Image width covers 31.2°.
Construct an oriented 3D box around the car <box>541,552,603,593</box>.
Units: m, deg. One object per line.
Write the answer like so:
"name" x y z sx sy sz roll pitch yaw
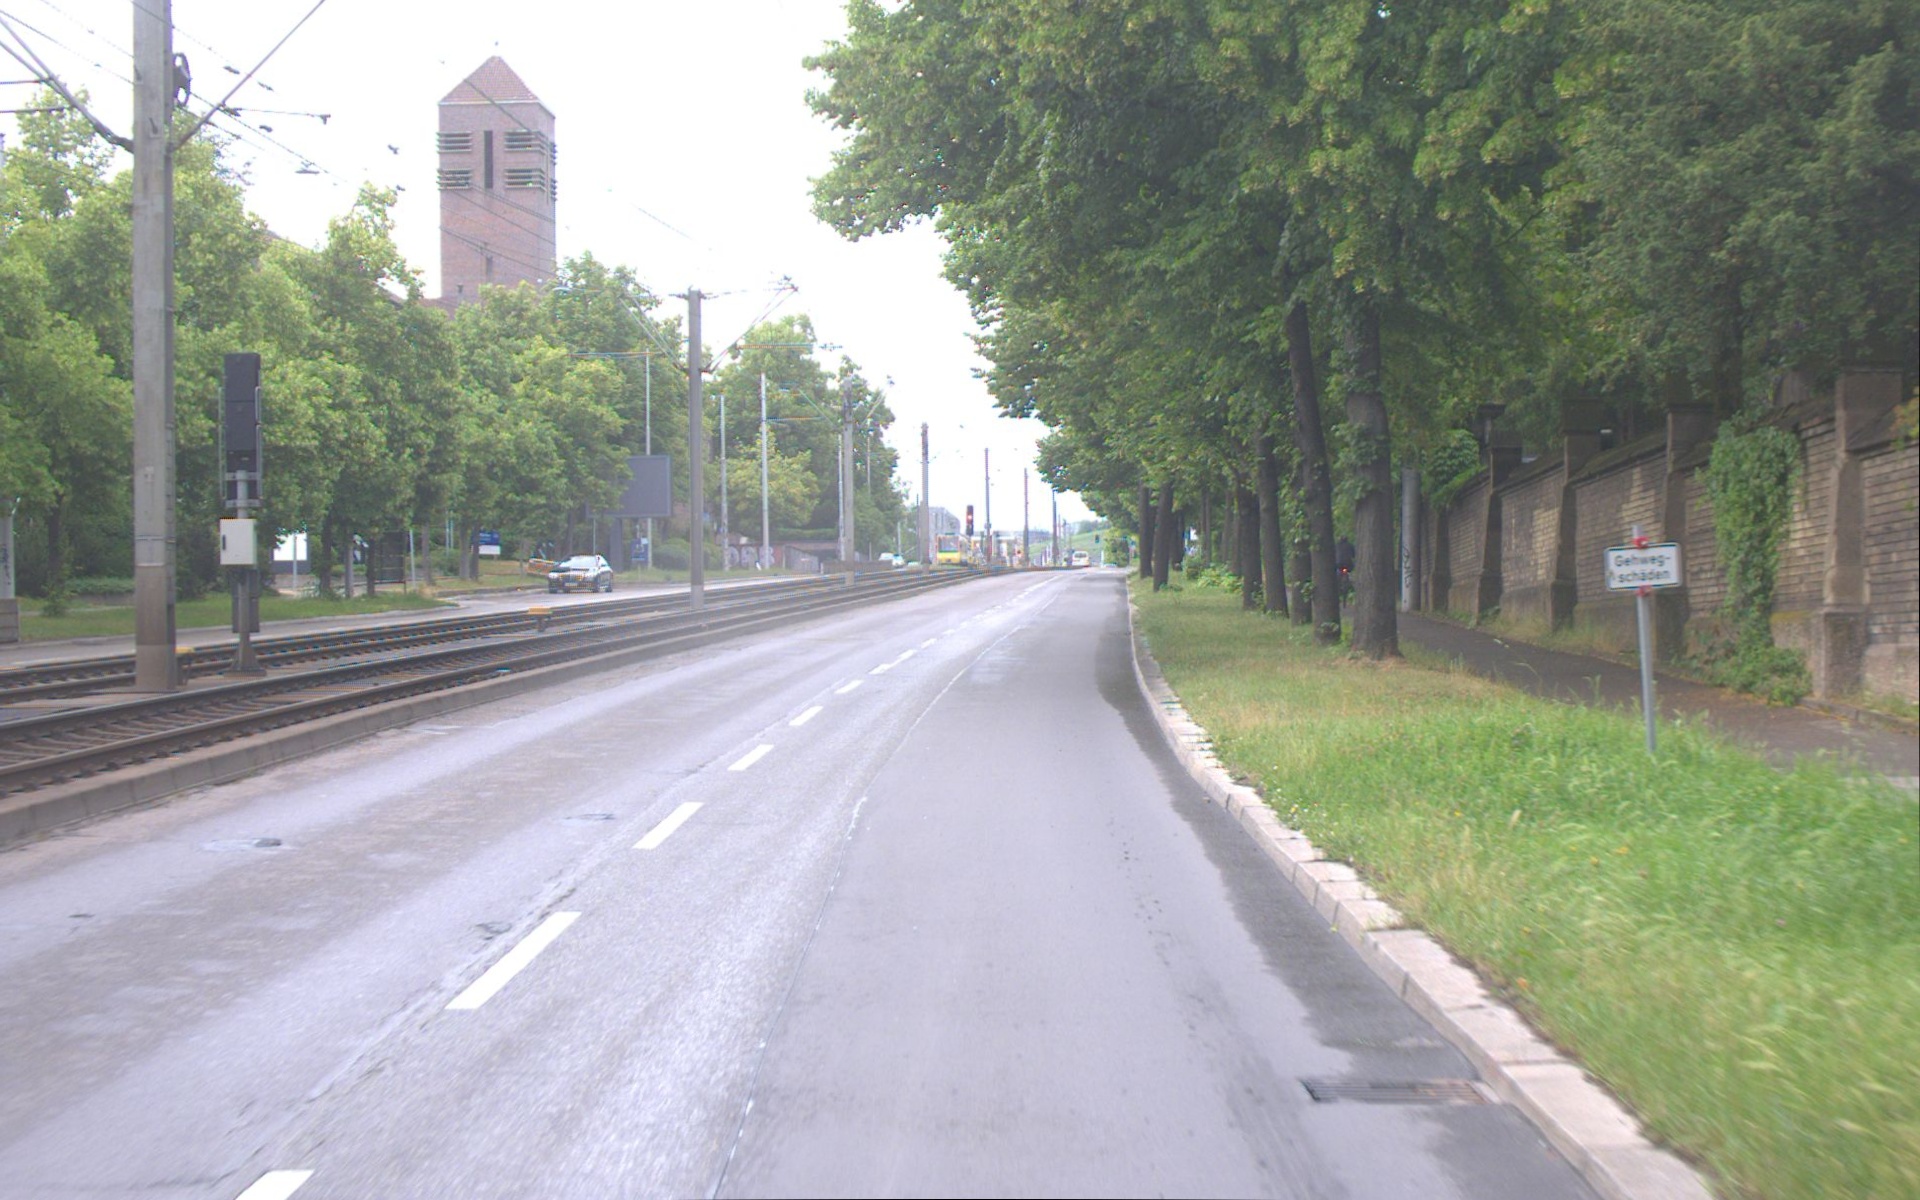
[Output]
"car" -15.054 -1.070 133.583 1.794 1.525 4.622 0 1 1
